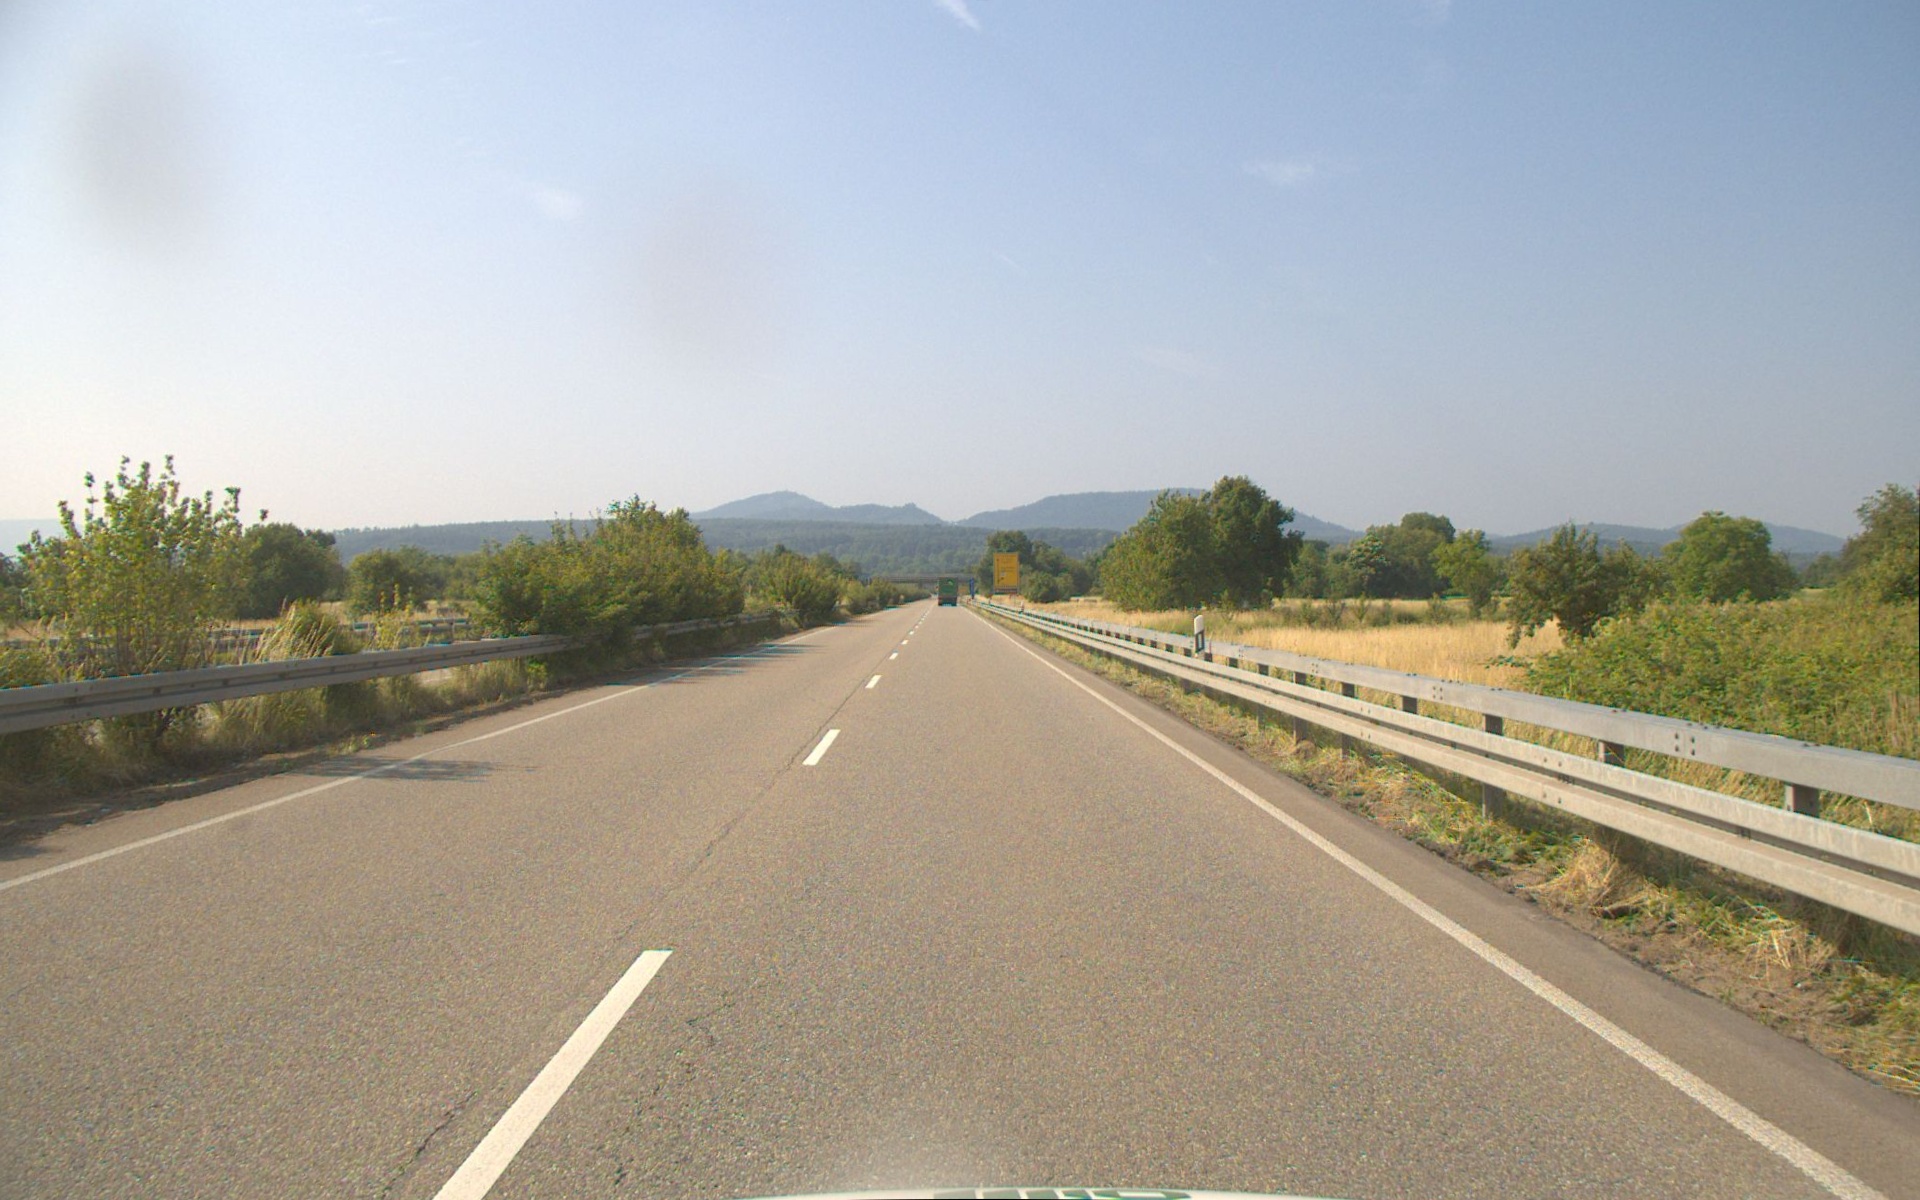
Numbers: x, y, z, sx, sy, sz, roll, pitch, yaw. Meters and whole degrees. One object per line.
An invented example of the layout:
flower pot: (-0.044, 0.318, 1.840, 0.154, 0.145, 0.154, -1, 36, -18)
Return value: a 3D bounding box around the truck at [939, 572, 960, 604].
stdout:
truck: (-1.361, -1.599, 217.224, 2.666, 4.034, 10.416, 1, 1, 0)
